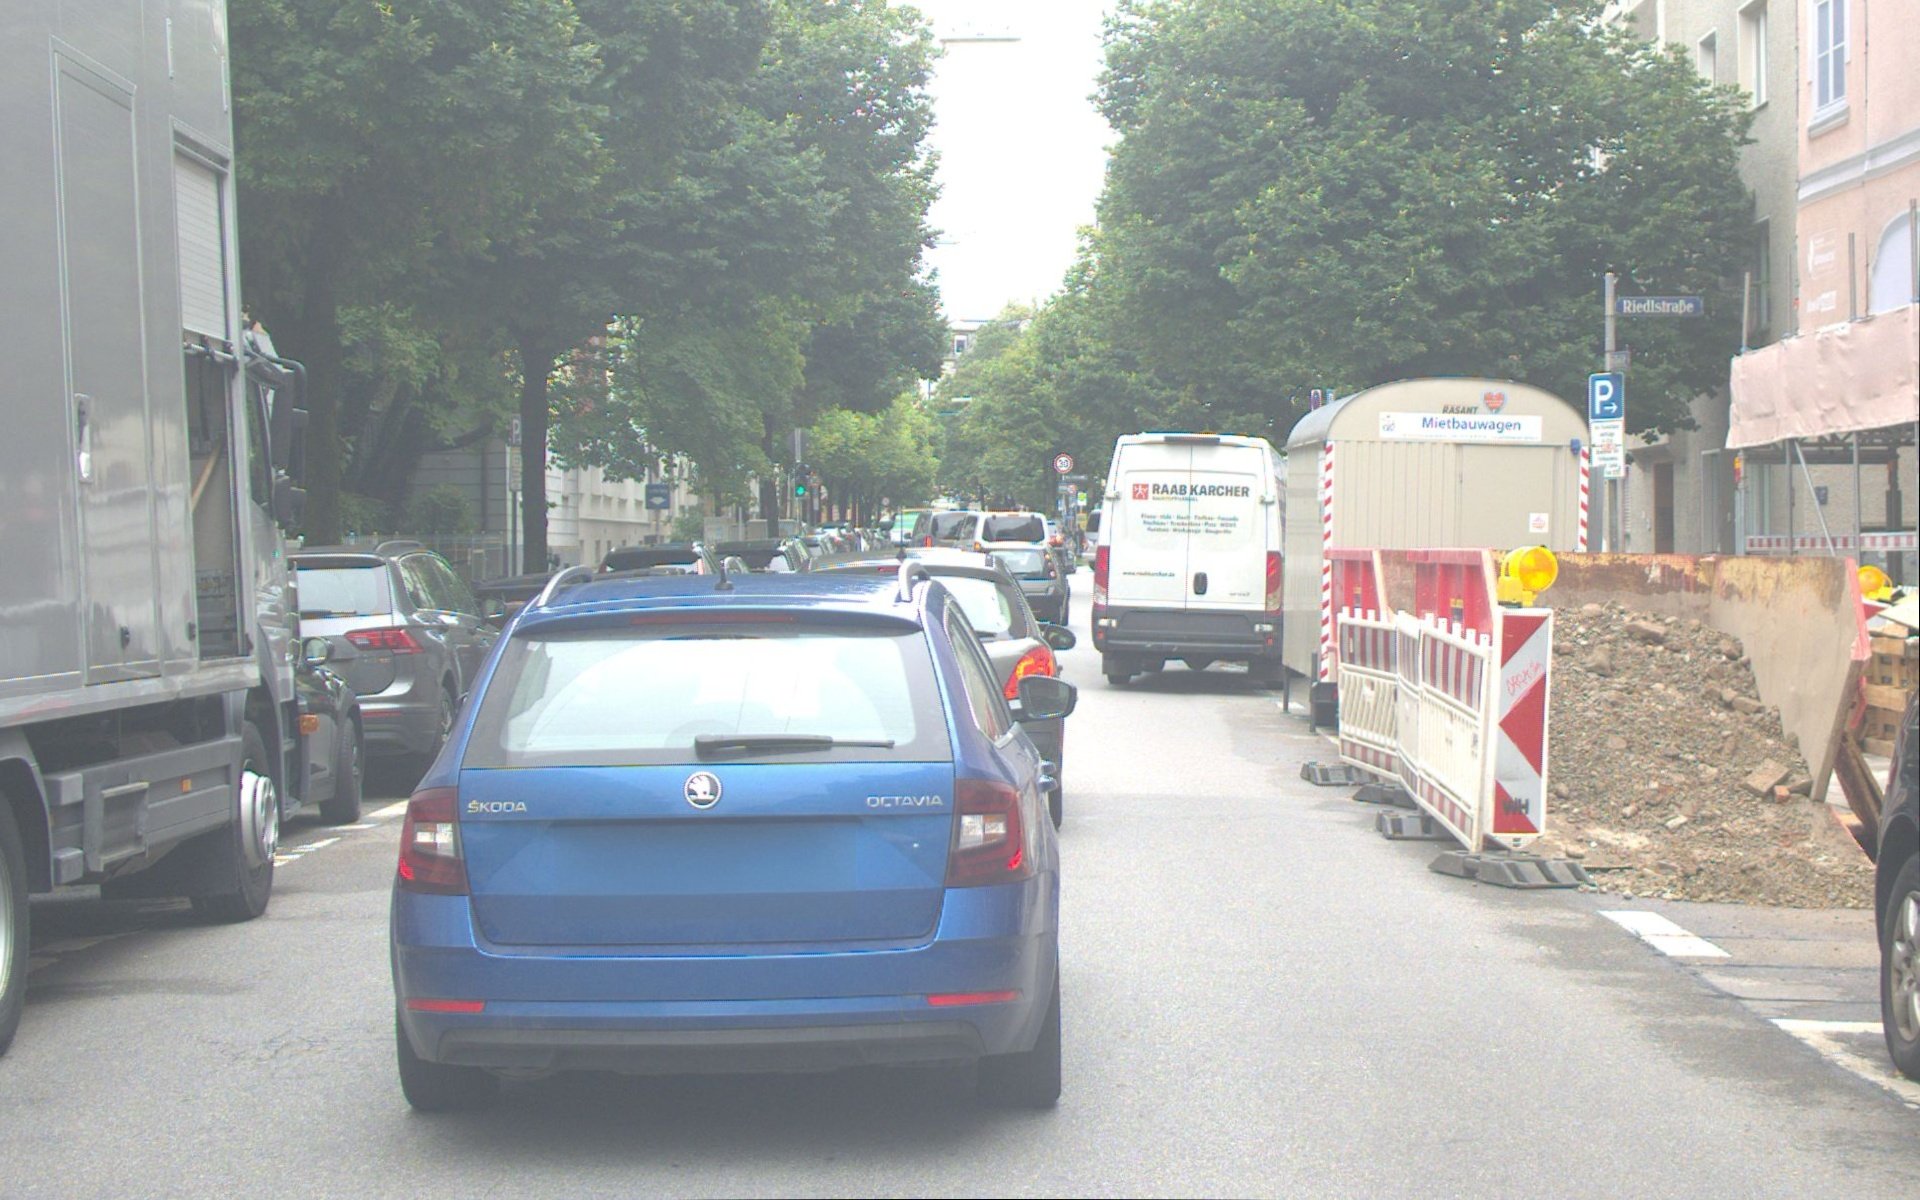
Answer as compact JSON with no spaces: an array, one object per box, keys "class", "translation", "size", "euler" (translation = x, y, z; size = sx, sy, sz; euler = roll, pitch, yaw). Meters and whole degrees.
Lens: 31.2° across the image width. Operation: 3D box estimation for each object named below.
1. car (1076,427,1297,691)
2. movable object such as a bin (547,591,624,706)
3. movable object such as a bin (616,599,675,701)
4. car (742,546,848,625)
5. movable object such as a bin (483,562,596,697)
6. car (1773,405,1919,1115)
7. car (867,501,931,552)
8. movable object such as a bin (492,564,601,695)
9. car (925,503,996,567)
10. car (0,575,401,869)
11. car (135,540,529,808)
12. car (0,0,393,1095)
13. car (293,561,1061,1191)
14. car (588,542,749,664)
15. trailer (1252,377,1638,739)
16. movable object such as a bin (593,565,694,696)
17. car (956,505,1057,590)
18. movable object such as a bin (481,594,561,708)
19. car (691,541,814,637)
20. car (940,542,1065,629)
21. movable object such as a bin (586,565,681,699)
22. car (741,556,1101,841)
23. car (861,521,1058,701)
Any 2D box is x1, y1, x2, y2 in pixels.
[{"class":"car","translation":[2.574,-0.443,37.819],"size":[2.113,2.654,5.498],"euler":[1,0,7]},{"class":"movable object such as a bin","translation":[-3.896,0.497,35.818],"size":[0.711,1.144,0.636],"euler":[-2,1,-2]},{"class":"movable object such as a bin","translation":[-3.277,0.514,35.870],"size":[0.546,1.017,0.636],"euler":[-2,1,-2]},{"class":"car","translation":[-3.200,-0.304,67.314],"size":[1.812,1.473,4.000],"euler":[0,1,1]},{"class":"movable object such as a bin","translation":[-4.473,0.305,36.656],"size":[1.081,1.372,1.084],"euler":[-2,1,-3]},{"class":"car","translation":[3.610,0.425,8.544],"size":[2.082,1.914,5.140],"euler":[1,-1,2]},{"class":"car","translation":[-2.054,-2.455,114.860],"size":[2.007,1.647,4.348],"euler":[1,1,-3]},{"class":"movable object such as a bin","translation":[-4.532,0.311,37.758],"size":[1.057,1.372,1.096],"euler":[-2,1,-3]},{"class":"car","translation":[0.014,-1.772,92.855],"size":[1.867,1.647,4.347],"euler":[1,1,0]},{"class":"car","translation":[-4.261,0.587,18.616],"size":[1.699,1.404,3.708],"euler":[-1,1,3]},{"class":"car","translation":[-4.160,0.426,23.421],"size":[1.785,1.622,4.185],"euler":[-1,1,2]},{"class":"car","translation":[-4.111,-0.521,11.737],"size":[2.812,3.804,8.723],"euler":[-1,1,0]},{"class":"car","translation":[-0.618,0.626,10.222],"size":[1.789,1.455,4.314],"euler":[-1,1,1]},{"class":"car","translation":[-3.731,0.005,44.546],"size":[1.812,1.473,4.000],"euler":[0,1,-1]},{"class":"trailer","translation":[4.134,-0.362,30.698],"size":[2.502,2.830,6.901],"euler":[1,0,1]},{"class":"movable object such as a bin","translation":[-3.475,0.327,37.823],"size":[1.020,1.372,1.104],"euler":[-2,1,-3]},{"class":"car","translation":[1.044,-1.218,78.793],"size":[1.867,1.863,4.348],"euler":[1,1,-5]},{"class":"movable object such as a bin","translation":[-4.564,0.524,35.773],"size":[0.721,1.134,0.659],"euler":[-2,1,-2]},{"class":"car","translation":[-3.298,-0.203,55.272],"size":[1.812,1.473,4.000],"euler":[0,1,-1]},{"class":"car","translation":[0.689,-0.272,58.386],"size":[1.867,1.343,4.348],"euler":[1,1,-2]},{"class":"movable object such as a bin","translation":[-3.476,0.331,36.725],"size":[0.918,1.372,1.080],"euler":[-2,1,-3]},{"class":"car","translation":[-0.126,0.473,19.183],"size":[1.741,1.417,3.663],"euler":[1,1,3]},{"class":"car","translation":[0.000,0.053,35.203],"size":[1.867,1.690,4.347],"euler":[1,1,0]}]
